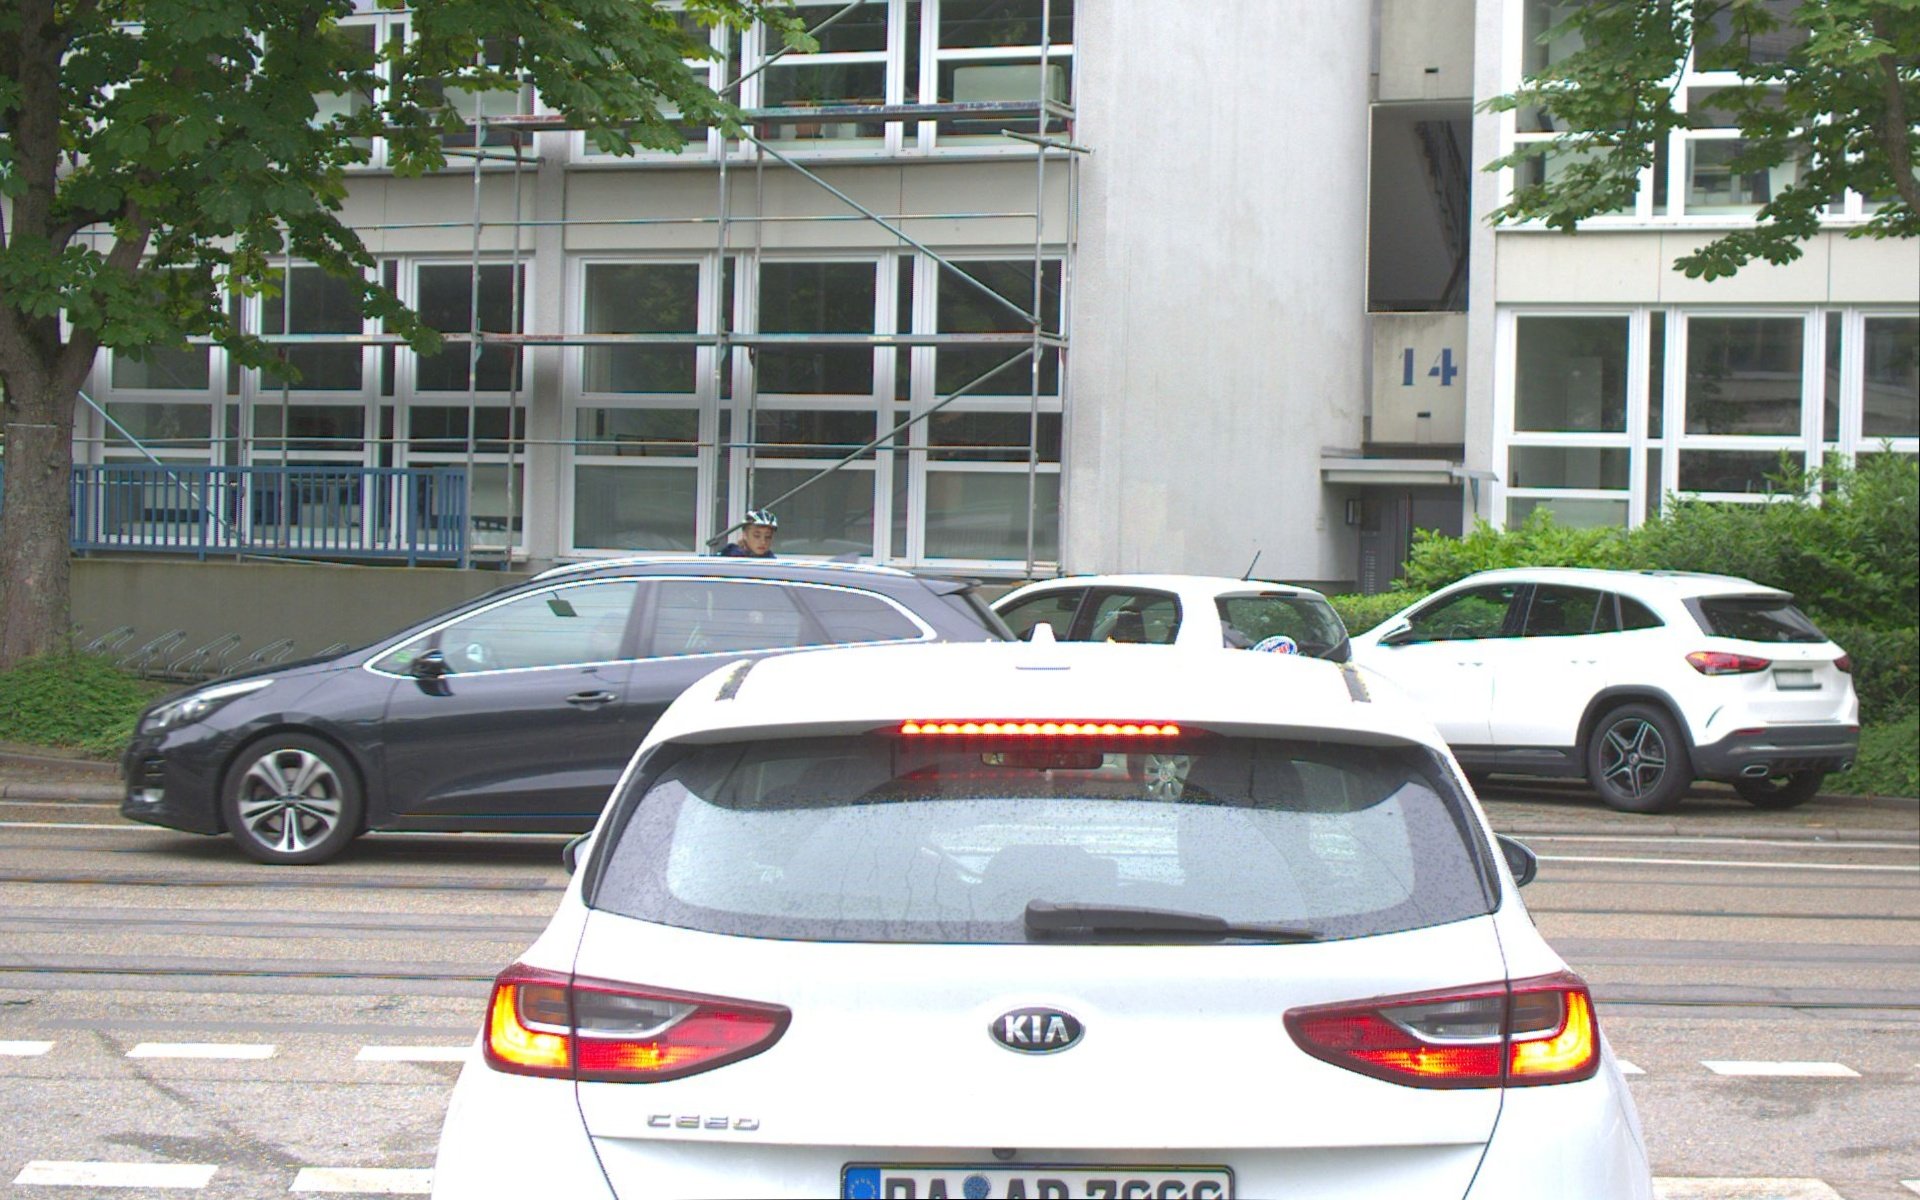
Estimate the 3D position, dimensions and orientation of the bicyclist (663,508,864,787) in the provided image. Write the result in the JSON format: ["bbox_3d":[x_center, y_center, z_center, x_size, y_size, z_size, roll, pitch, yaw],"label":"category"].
[{"bbox_3d":[-1.232,0.286,21.534,0.896,1.692,0.832,2,1,45],"label":"bicyclist"}]

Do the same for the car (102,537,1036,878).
[{"bbox_3d":[-1.843,0.487,16.725,4.240,1.485,1.824,1,1,-4],"label":"car"}]

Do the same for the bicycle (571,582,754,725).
[{"bbox_3d":[-2.519,0.434,29.384,0.645,1.071,2.310,2,3,20],"label":"bicycle"}]

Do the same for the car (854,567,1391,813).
[{"bbox_3d":[1.023,0.544,22.825,1.552,1.468,3.406,0,1,-44],"label":"car"}]

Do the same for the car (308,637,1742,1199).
[{"bbox_3d":[0.160,0.795,6.258,1.775,1.428,3.978,1,-1,3],"label":"car"}]

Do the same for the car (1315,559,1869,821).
[{"bbox_3d":[4.233,0.555,23.316,1.552,1.612,3.406,0,1,-44],"label":"car"}]

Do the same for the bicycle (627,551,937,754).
[{"bbox_3d":[-1.128,0.308,21.426,1.914,1.170,0.819,2,1,44],"label":"bicycle"}]
